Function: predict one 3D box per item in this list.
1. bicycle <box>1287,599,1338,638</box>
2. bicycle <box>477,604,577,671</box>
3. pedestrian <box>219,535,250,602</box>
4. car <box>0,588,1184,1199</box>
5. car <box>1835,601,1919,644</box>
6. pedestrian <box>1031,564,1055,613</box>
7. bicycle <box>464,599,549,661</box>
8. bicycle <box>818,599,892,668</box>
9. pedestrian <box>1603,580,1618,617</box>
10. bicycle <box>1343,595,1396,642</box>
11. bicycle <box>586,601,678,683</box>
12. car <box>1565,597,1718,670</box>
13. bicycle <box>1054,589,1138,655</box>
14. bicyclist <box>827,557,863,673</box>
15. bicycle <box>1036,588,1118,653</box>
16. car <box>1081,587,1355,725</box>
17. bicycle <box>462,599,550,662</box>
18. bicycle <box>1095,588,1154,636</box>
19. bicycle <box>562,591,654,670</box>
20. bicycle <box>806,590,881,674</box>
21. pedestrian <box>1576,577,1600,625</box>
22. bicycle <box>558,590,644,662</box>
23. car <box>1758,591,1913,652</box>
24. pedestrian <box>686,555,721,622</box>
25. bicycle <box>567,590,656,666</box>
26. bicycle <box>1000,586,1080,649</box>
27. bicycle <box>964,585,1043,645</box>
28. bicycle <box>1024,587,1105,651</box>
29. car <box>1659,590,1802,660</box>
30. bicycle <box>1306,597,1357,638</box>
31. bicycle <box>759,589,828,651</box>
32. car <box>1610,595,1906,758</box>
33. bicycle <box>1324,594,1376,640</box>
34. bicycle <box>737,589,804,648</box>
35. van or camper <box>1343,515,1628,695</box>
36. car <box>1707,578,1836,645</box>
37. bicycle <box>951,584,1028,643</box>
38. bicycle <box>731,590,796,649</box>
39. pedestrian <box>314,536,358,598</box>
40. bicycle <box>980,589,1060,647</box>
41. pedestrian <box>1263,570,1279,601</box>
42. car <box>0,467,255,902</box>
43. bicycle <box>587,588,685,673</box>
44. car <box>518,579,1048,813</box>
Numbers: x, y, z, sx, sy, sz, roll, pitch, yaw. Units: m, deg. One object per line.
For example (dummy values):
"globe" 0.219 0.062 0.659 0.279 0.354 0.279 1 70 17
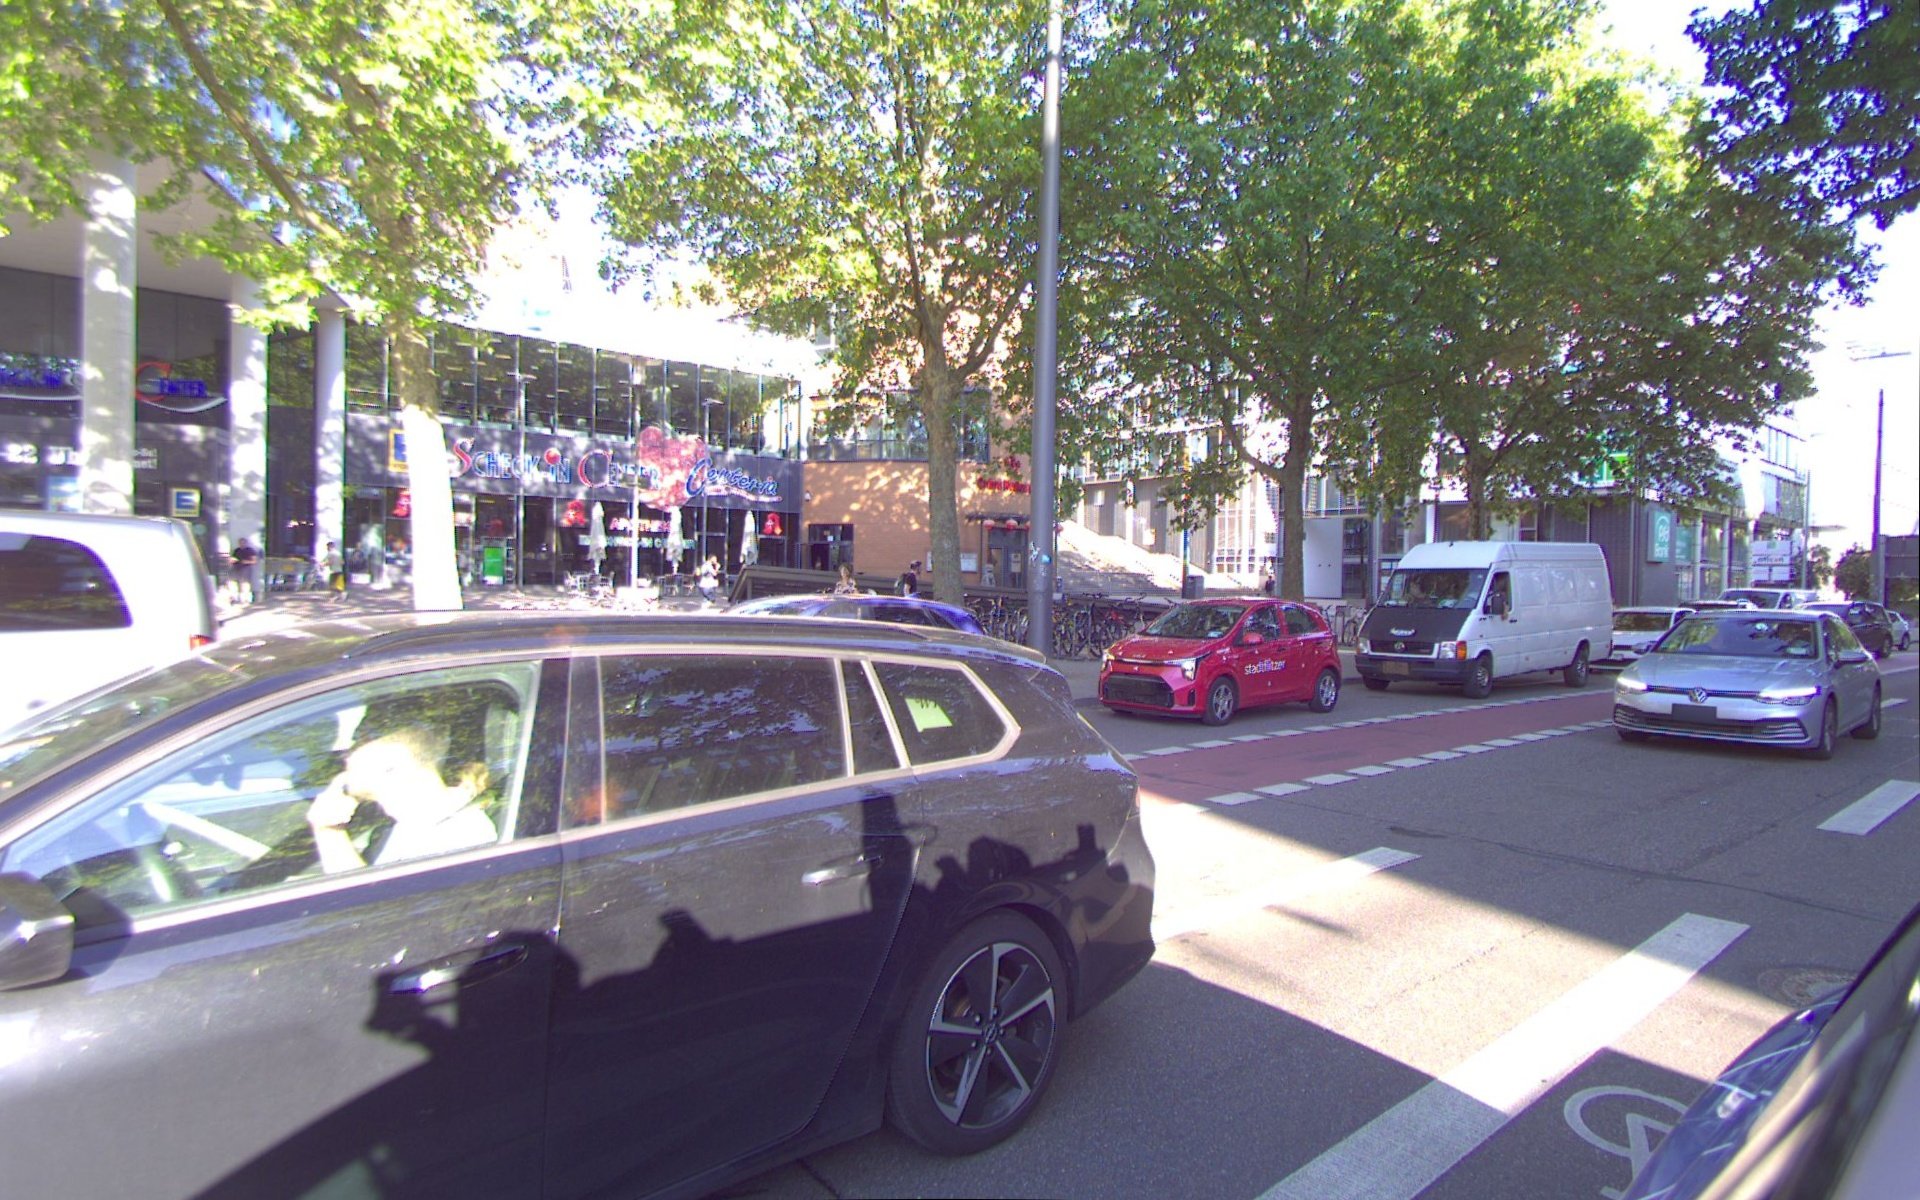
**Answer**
"bicycle" 9.927 0.508 28.456 1.818 1.046 0.515 0 2 -41
"bicycle" -6.236 0.521 14.598 1.231 0.898 0.462 0 1 -40
"pedestrian" -18.749 -0.803 26.162 0.506 1.707 0.604 1 1 -23
"car" -1.442 0.693 2.451 4.196 1.432 1.742 0 0 -41
"car" 32.704 0.753 35.875 3.927 1.394 1.802 0 2 -38
"pedestrian" 3.603 -0.507 43.905 0.575 2.062 0.876 1 1 -35
"bicycle" -7.119 0.465 15.922 1.198 0.938 0.465 1 1 -22
"bicycle" -1.770 0.544 17.120 1.202 1.110 0.420 0 1 -40
"pedestrian" 24.531 -0.065 38.165 0.492 1.392 0.301 0 1 -37
"bicycle" 11.034 0.481 27.235 1.818 1.209 0.521 0 2 -41
"bicycle" -4.578 0.567 14.182 1.202 1.110 0.269 0 1 -40
"car" 15.096 0.676 22.350 3.927 1.446 1.683 0 1 -38
"bicycle" 2.623 0.402 19.367 1.818 1.209 0.481 0 2 -41
"bicyclist" -1.796 0.229 15.817 0.392 1.782 0.390 0 1 -41
"bicycle" 2.300 0.391 19.752 1.818 1.209 0.448 0 1 -41
"car" 3.348 0.605 12.822 3.588 1.476 1.605 0 1 -41
"bicycle" -6.956 0.456 15.544 1.198 0.930 0.442 1 1 -22
"bicycle" 4.402 0.308 27.056 1.759 1.209 0.517 0 2 -41
"bicycle" -5.155 0.427 14.841 1.202 1.110 0.396 0 1 -40
"bicycle" -1.813 0.483 15.822 1.126 1.271 0.379 0 1 -41
"pedestrian" 23.416 0.034 37.750 0.443 1.790 0.627 0 1 -39
"bicycle" -5.783 0.399 16.334 0.414 1.110 1.269 2 1 41
"car" 25.224 0.584 29.153 4.242 1.640 1.970 0 1 -28
"pedestrian" -7.002 -0.321 27.669 0.869 1.805 0.604 1 1 -11
"bicycle" -5.357 0.408 15.590 0.372 1.110 1.269 2 1 41
"bicycle" 1.631 0.342 20.522 1.818 1.209 0.447 0 1 -41
"bicycle" 0.937 0.299 21.350 1.818 1.209 0.458 0 1 -41
"bicycle" 2.112 0.365 20.261 1.818 1.209 0.484 0 2 -41
"car" 19.641 0.576 25.751 4.148 1.640 1.819 0 1 -36
"bicycle" 10.311 0.472 28.046 1.766 1.108 0.522 0 2 -41
"bicycle" -3.092 0.360 18.854 1.202 1.110 0.427 0 1 -40
"car" 8.733 0.682 10.972 3.928 1.458 1.733 0 0 -39
"bicycle" 10.667 0.449 27.633 1.818 1.209 0.495 0 2 -41
"bicycle" -3.641 0.346 19.507 1.202 1.110 0.444 0 1 -40
"van or camper" 9.290 0.063 17.544 6.456 2.611 1.998 0 0 -39
"car" 26.368 0.347 32.842 4.863 2.020 1.968 0 1 -35
"bicycle" 0.639 0.274 21.703 1.818 1.209 0.434 0 1 -41
"bicycle" -3.886 0.375 20.050 1.202 1.110 0.429 0 1 -40
"pedestrian" -17.570 -0.924 28.488 0.797 1.728 0.713 1 1 22
"bicycle" 1.258 0.354 20.970 1.818 1.139 0.484 0 2 -41
"pedestrian" 16.155 -0.751 52.510 0.707 1.578 0.638 1 1 14
"car" -6.205 0.361 4.375 5.008 2.004 1.940 0 2 -41
"bicycle" -4.433 0.402 13.885 1.202 1.110 0.413 0 1 -40
"car" -1.331 0.611 8.669 4.177 1.503 1.742 0 2 -41
